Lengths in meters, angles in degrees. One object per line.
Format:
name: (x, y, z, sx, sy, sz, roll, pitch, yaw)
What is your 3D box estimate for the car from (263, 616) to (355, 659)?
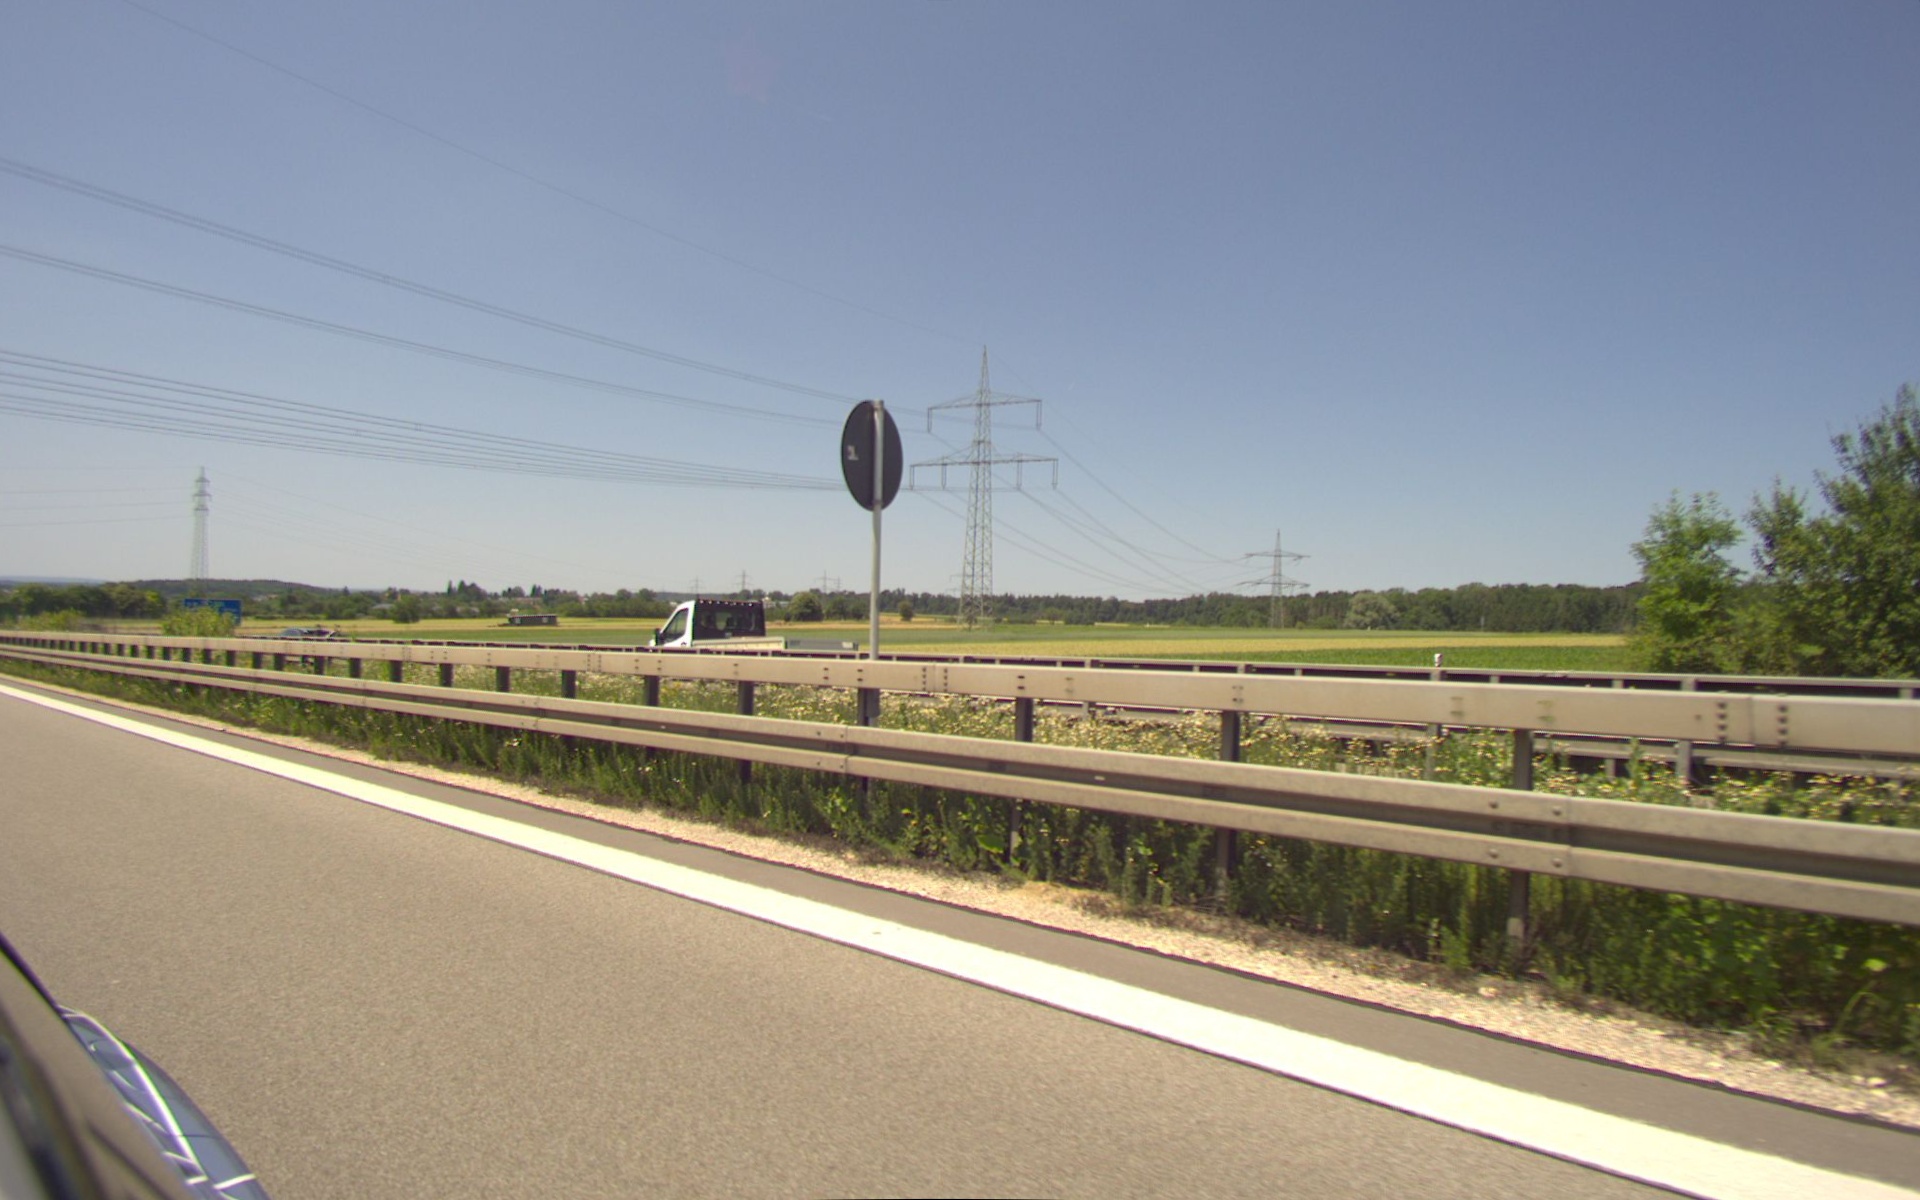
car: (-25.932, 1.457, 40.272, 4.283, 1.555, 1.928, 0, 0, 40)

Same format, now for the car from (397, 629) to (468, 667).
car: (-26.019, 2.330, 49.902, 3.998, 1.706, 1.804, -1, 0, 41)

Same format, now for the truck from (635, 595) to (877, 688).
truck: (-4.749, 0.840, 23.006, 5.723, 1.851, 2.404, 0, 0, 41)

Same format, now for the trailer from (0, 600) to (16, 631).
trailer: (-119.140, 1.902, 124.550, 12.524, 3.621, 2.726, 0, 0, 39)
